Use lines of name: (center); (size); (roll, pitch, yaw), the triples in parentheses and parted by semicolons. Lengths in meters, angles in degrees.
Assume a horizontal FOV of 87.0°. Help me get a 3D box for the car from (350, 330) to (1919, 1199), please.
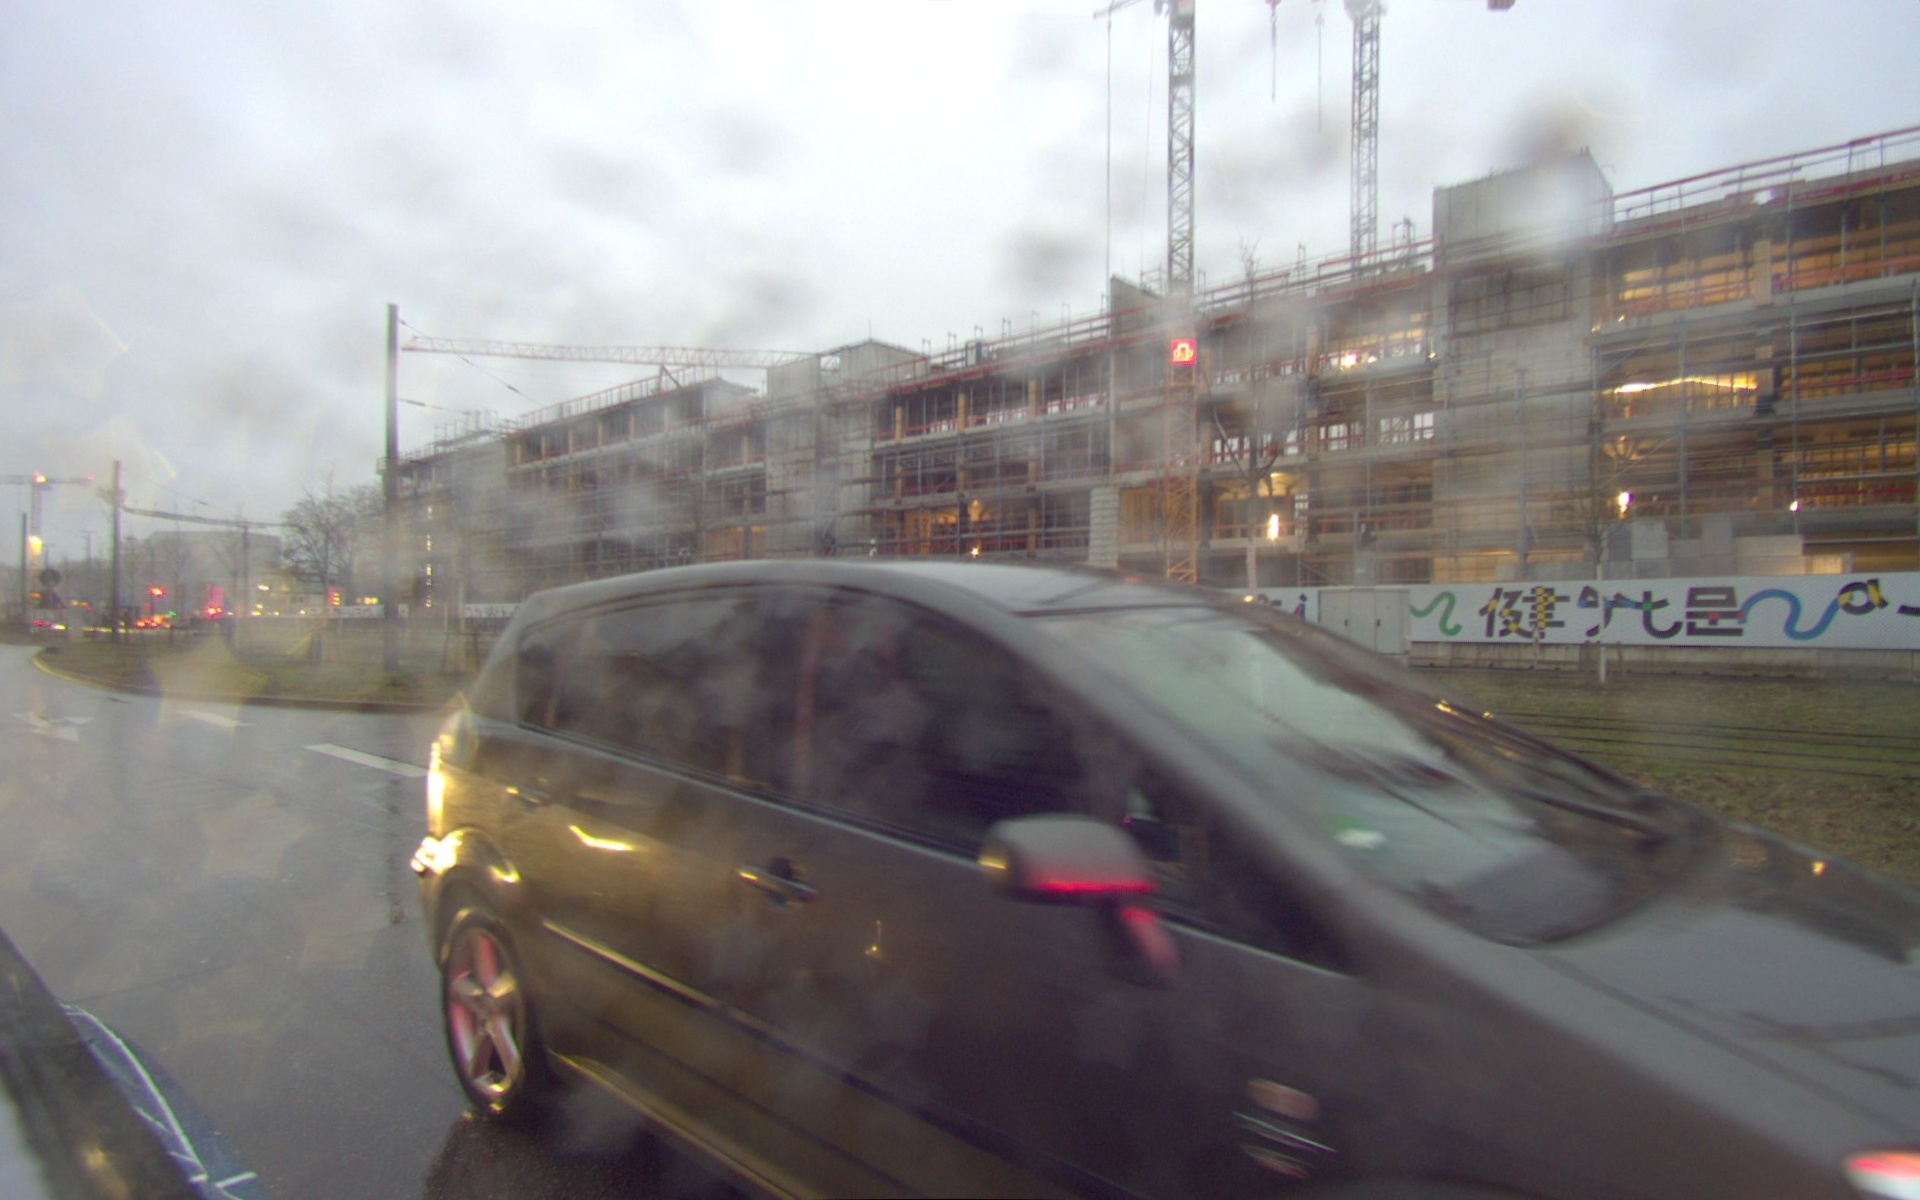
car: (0.291, 0.622, 2.479); (4.131, 1.659, 1.793); (-1, -1, 39)
